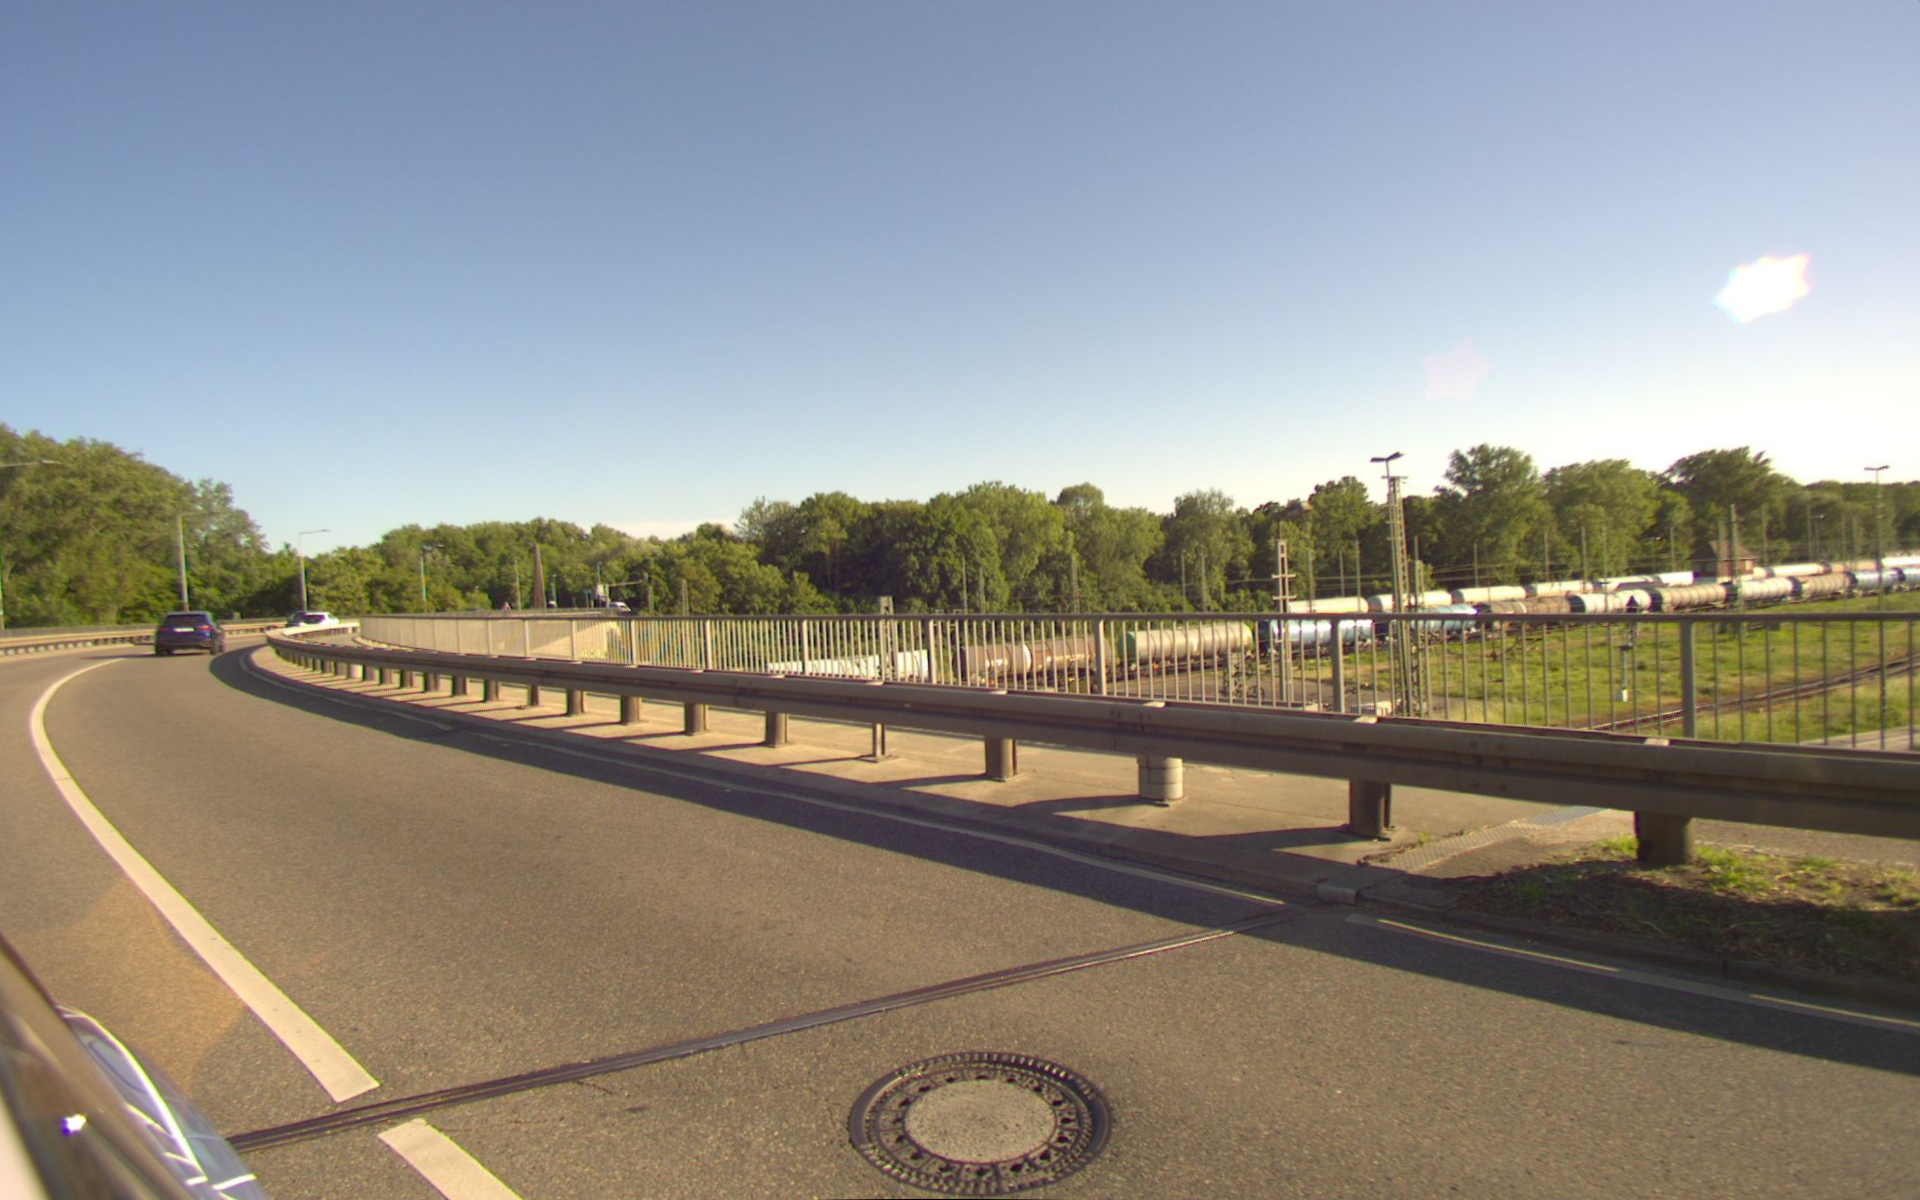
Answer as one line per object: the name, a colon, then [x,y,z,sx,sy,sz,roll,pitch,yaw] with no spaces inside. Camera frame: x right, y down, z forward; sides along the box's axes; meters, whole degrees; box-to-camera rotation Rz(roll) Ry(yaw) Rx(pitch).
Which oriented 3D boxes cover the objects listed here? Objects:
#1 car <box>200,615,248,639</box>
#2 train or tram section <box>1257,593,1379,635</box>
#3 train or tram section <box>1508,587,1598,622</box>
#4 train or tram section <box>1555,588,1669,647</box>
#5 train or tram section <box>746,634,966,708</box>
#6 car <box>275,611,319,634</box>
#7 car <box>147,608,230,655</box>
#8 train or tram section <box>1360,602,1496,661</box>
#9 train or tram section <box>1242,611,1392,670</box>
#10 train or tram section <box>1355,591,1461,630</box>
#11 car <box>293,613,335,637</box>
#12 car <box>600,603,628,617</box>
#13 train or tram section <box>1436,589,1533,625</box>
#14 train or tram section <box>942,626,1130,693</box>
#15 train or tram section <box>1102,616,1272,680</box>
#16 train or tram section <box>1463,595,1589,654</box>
car: [-48.502,1.755,66.731,1.960,1.484,4.143,-1,0,-28]
train or tram section: [49.787,1.838,140.126,19.020,5.124,4.062,-1,0,-28]
train or tram section: [97.156,0.674,165.580,17.561,5.124,4.062,-1,0,-28]
train or tram section: [79.118,1.995,122.608,16.220,6.661,3.918,-1,0,-27]
train or tram section: [-7.763,5.251,77.851,16.480,4.626,3.918,-1,0,-27]
car: [-49.935,1.655,76.270,1.890,1.630,3.754,-1,0,-19]
car: [-28.219,1.123,37.133,1.798,1.563,4.198,-1,0,-29]
train or tram section: [49.835,3.228,107.498,16.220,5.560,3.918,-1,0,-27]
train or tram section: [35.424,3.852,100.133,16.084,5.054,3.918,-1,0,-27]
train or tram section: [66.048,1.438,148.855,17.875,5.124,4.062,-1,0,-28]
car: [-42.852,1.634,67.204,1.811,1.530,3.782,-1,0,-24]
car: [-65.875,1.904,192.781,5.692,2.518,2.090,-4,-1,35]
train or tram section: [81.660,1.055,157.250,17.561,5.124,4.062,-1,0,-28]
train or tram section: [6.583,4.837,85.246,16.031,4.626,3.918,-1,0,-27]
train or tram section: [20.987,4.240,92.727,16.380,5.054,3.918,-1,0,-27]
train or tram section: [64.466,2.666,115.035,16.668,6.054,3.918,-1,0,-27]
